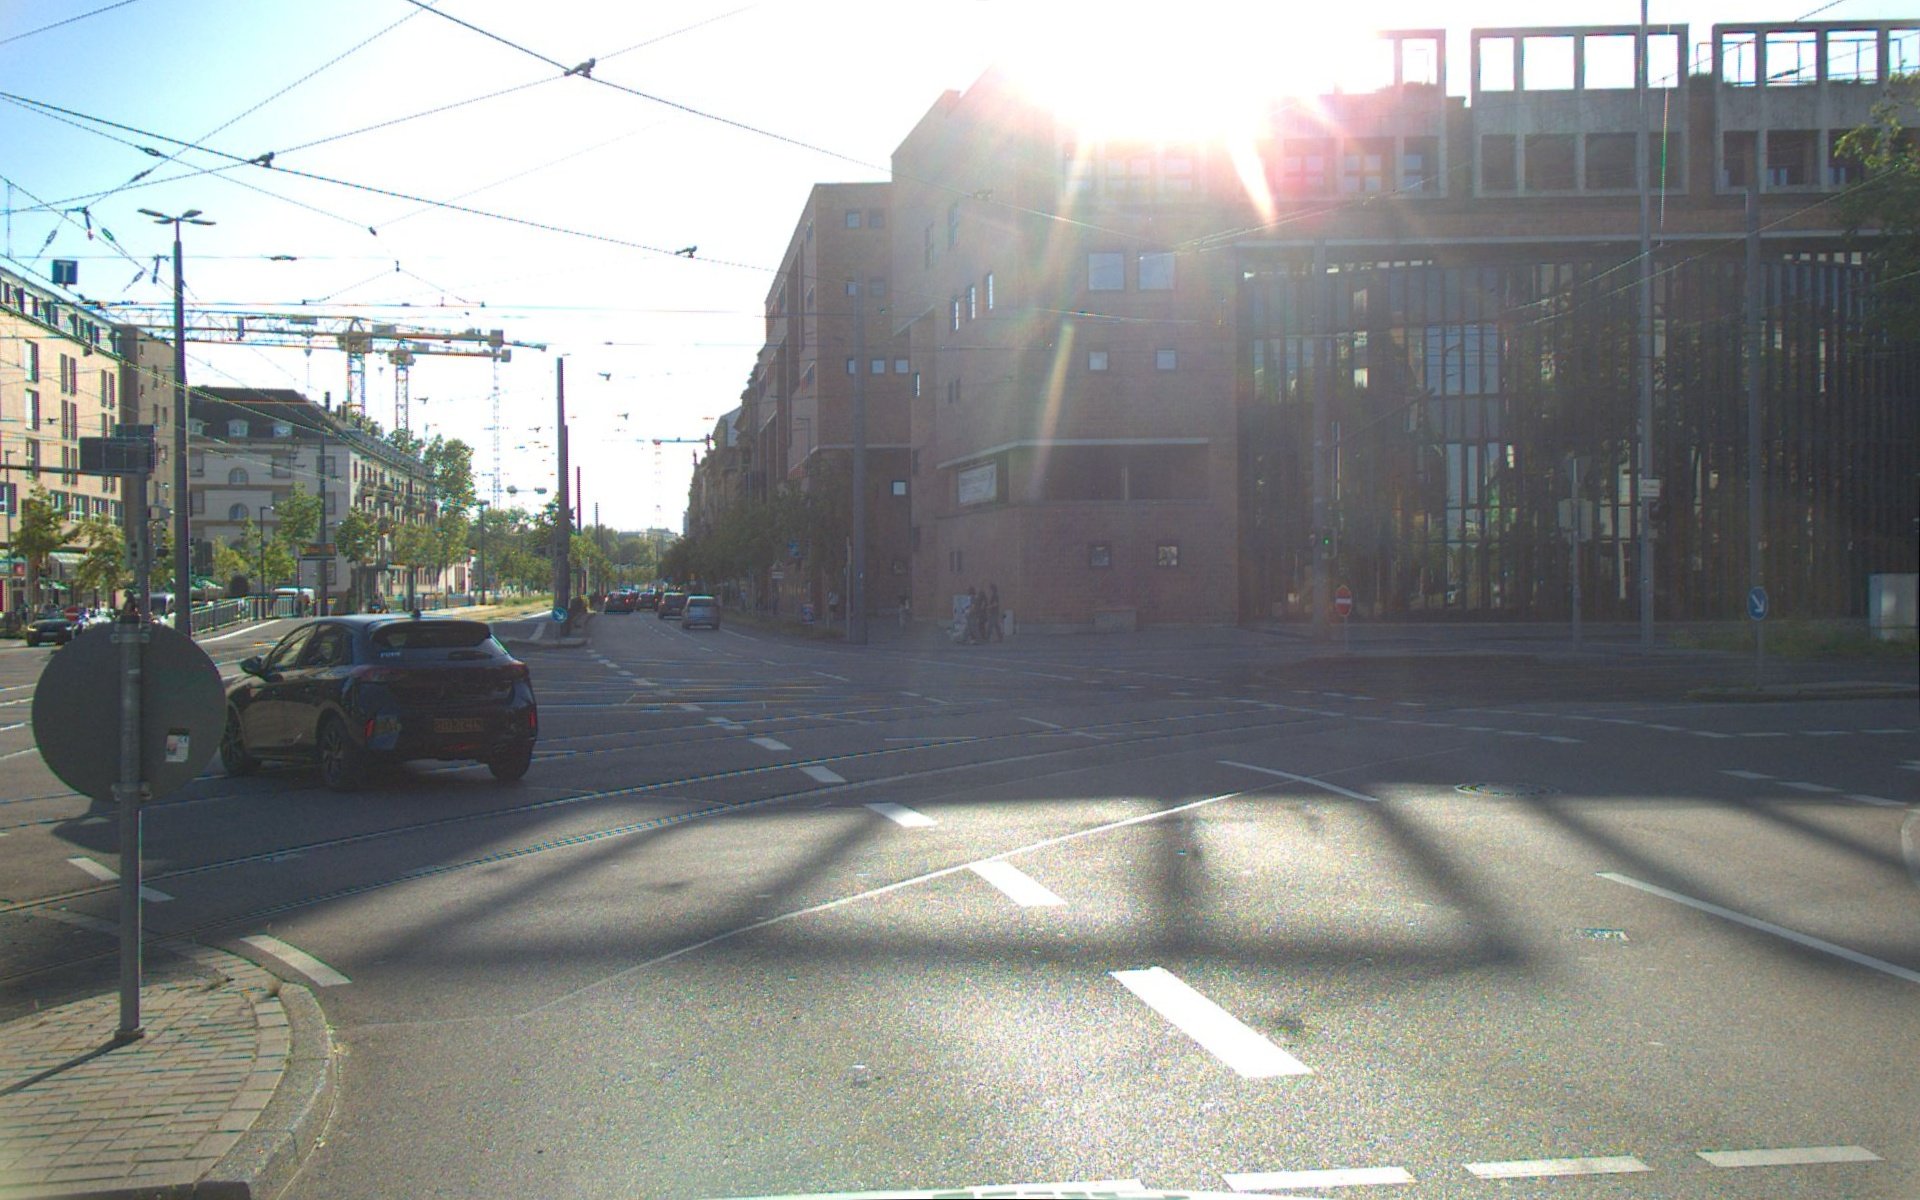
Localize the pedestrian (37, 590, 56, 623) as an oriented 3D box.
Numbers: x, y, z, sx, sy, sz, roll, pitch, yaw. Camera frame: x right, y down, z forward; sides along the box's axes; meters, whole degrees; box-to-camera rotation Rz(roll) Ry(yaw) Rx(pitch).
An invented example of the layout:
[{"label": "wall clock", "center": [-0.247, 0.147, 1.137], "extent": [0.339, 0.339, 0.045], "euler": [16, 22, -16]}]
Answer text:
[{"label": "pedestrian", "center": [-50.061, 0.369, 90.670], "extent": [0.703, 1.795, 0.564], "euler": [-2, 0, -8]}]

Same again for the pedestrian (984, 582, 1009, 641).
[{"label": "pedestrian", "center": [1.143, 0.347, 51.856], "extent": [0.563, 1.817, 0.546], "euler": [-2, 0, -19]}]

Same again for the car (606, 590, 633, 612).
[{"label": "car", "center": [-23.780, 0.035, 115.618], "extent": [1.690, 1.479, 3.688], "euler": [-2, 1, -11]}]

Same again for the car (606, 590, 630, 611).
[{"label": "car", "center": [-26.120, 0.014, 126.339], "extent": [1.690, 1.479, 3.688], "euler": [-2, 1, -11]}]

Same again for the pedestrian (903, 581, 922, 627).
[{"label": "pedestrian", "center": [-1.916, 0.142, 66.493], "extent": [0.628, 1.817, 0.687], "euler": [-2, 0, -8]}]

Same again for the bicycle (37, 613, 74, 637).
[{"label": "bicycle", "center": [-41.647, 1.148, 76.202], "extent": [0.795, 1.008, 2.501], "euler": [-1, 1, -12]}]

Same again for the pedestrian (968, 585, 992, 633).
[{"label": "pedestrian", "center": [0.632, 0.295, 52.738], "extent": [0.541, 1.503, 0.568], "euler": [-1, 1, -29]}]

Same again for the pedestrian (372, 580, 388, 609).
[{"label": "pedestrian", "center": [-34.187, -0.312, 97.462], "extent": [0.848, 1.699, 0.780], "euler": [0, 1, -21]}]

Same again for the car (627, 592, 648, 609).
[{"label": "car", "center": [-27.933, 0.033, 143.295], "extent": [1.690, 1.479, 3.688], "euler": [-2, 1, -11]}]

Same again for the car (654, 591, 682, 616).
[{"label": "car", "center": [-17.927, 0.212, 101.470], "extent": [1.641, 1.479, 3.688], "euler": [-2, 1, -11]}]

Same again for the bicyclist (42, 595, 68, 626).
[{"label": "bicyclist", "center": [-41.659, 0.480, 76.163], "extent": [0.795, 1.401, 0.923], "euler": [-1, 1, -12]}]

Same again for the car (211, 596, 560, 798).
[{"label": "car", "center": [-5.215, 0.767, 14.778], "extent": [1.663, 1.528, 3.634], "euler": [2, -1, -42]}]

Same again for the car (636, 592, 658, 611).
[{"label": "car", "center": [-25.275, 0.136, 133.786], "extent": [1.690, 1.479, 3.688], "euler": [-2, 1, -11]}]

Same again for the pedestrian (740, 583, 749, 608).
[{"label": "pedestrian", "center": [-15.742, -0.344, 120.963], "extent": [0.628, 1.817, 0.687], "euler": [-2, 0, -8]}]

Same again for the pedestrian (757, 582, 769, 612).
[{"label": "pedestrian", "center": [-11.984, -0.202, 100.482], "extent": [0.628, 1.817, 0.687], "euler": [-2, 0, -10]}]

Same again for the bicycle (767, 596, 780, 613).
[{"label": "bicycle", "center": [-10.904, 0.252, 96.418], "extent": [0.636, 0.920, 2.341], "euler": [0, 1, -9]}]

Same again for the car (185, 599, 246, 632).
[{"label": "car", "center": [-36.733, 0.755, 81.726], "extent": [1.807, 1.473, 4.285], "euler": [-3, 1, -12]}]

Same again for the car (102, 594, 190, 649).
[{"label": "car", "center": [-29.953, 0.772, 60.951], "extent": [1.806, 1.867, 4.096], "euler": [-3, 1, -11]}]

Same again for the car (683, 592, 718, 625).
[{"label": "car", "center": [-11.944, 0.373, 76.027], "extent": [1.531, 1.481, 3.424], "euler": [-1, 1, -9]}]

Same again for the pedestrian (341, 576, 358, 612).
[{"label": "pedestrian", "center": [-32.709, -0.307, 88.590], "extent": [0.848, 1.919, 0.733], "euler": [0, 1, -21]}]

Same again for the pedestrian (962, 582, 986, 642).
[{"label": "pedestrian", "center": [0.438, 0.360, 51.175], "extent": [0.563, 1.817, 0.546], "euler": [-2, 0, -19]}]

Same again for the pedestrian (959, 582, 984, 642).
[{"label": "pedestrian", "center": [0.349, 0.363, 50.411], "extent": [0.563, 1.817, 0.546], "euler": [-2, 0, -19]}]

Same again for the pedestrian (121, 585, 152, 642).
[{"label": "pedestrian", "center": [-25.701, 0.410, 51.617], "extent": [0.708, 1.757, 0.593], "euler": [-1, 0, -10]}]

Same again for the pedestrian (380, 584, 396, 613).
[{"label": "pedestrian", "center": [-33.583, -0.088, 97.041], "extent": [0.848, 1.699, 0.733], "euler": [0, 1, -21]}]

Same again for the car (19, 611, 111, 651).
[{"label": "car", "center": [-33.078, 1.133, 61.246], "extent": [1.807, 1.290, 4.216], "euler": [-3, 1, -12]}]

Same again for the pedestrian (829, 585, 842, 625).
[{"label": "pedestrian", "center": [-5.851, 0.241, 77.557], "extent": [0.537, 1.817, 0.572], "euler": [-1, 3, -8]}]
